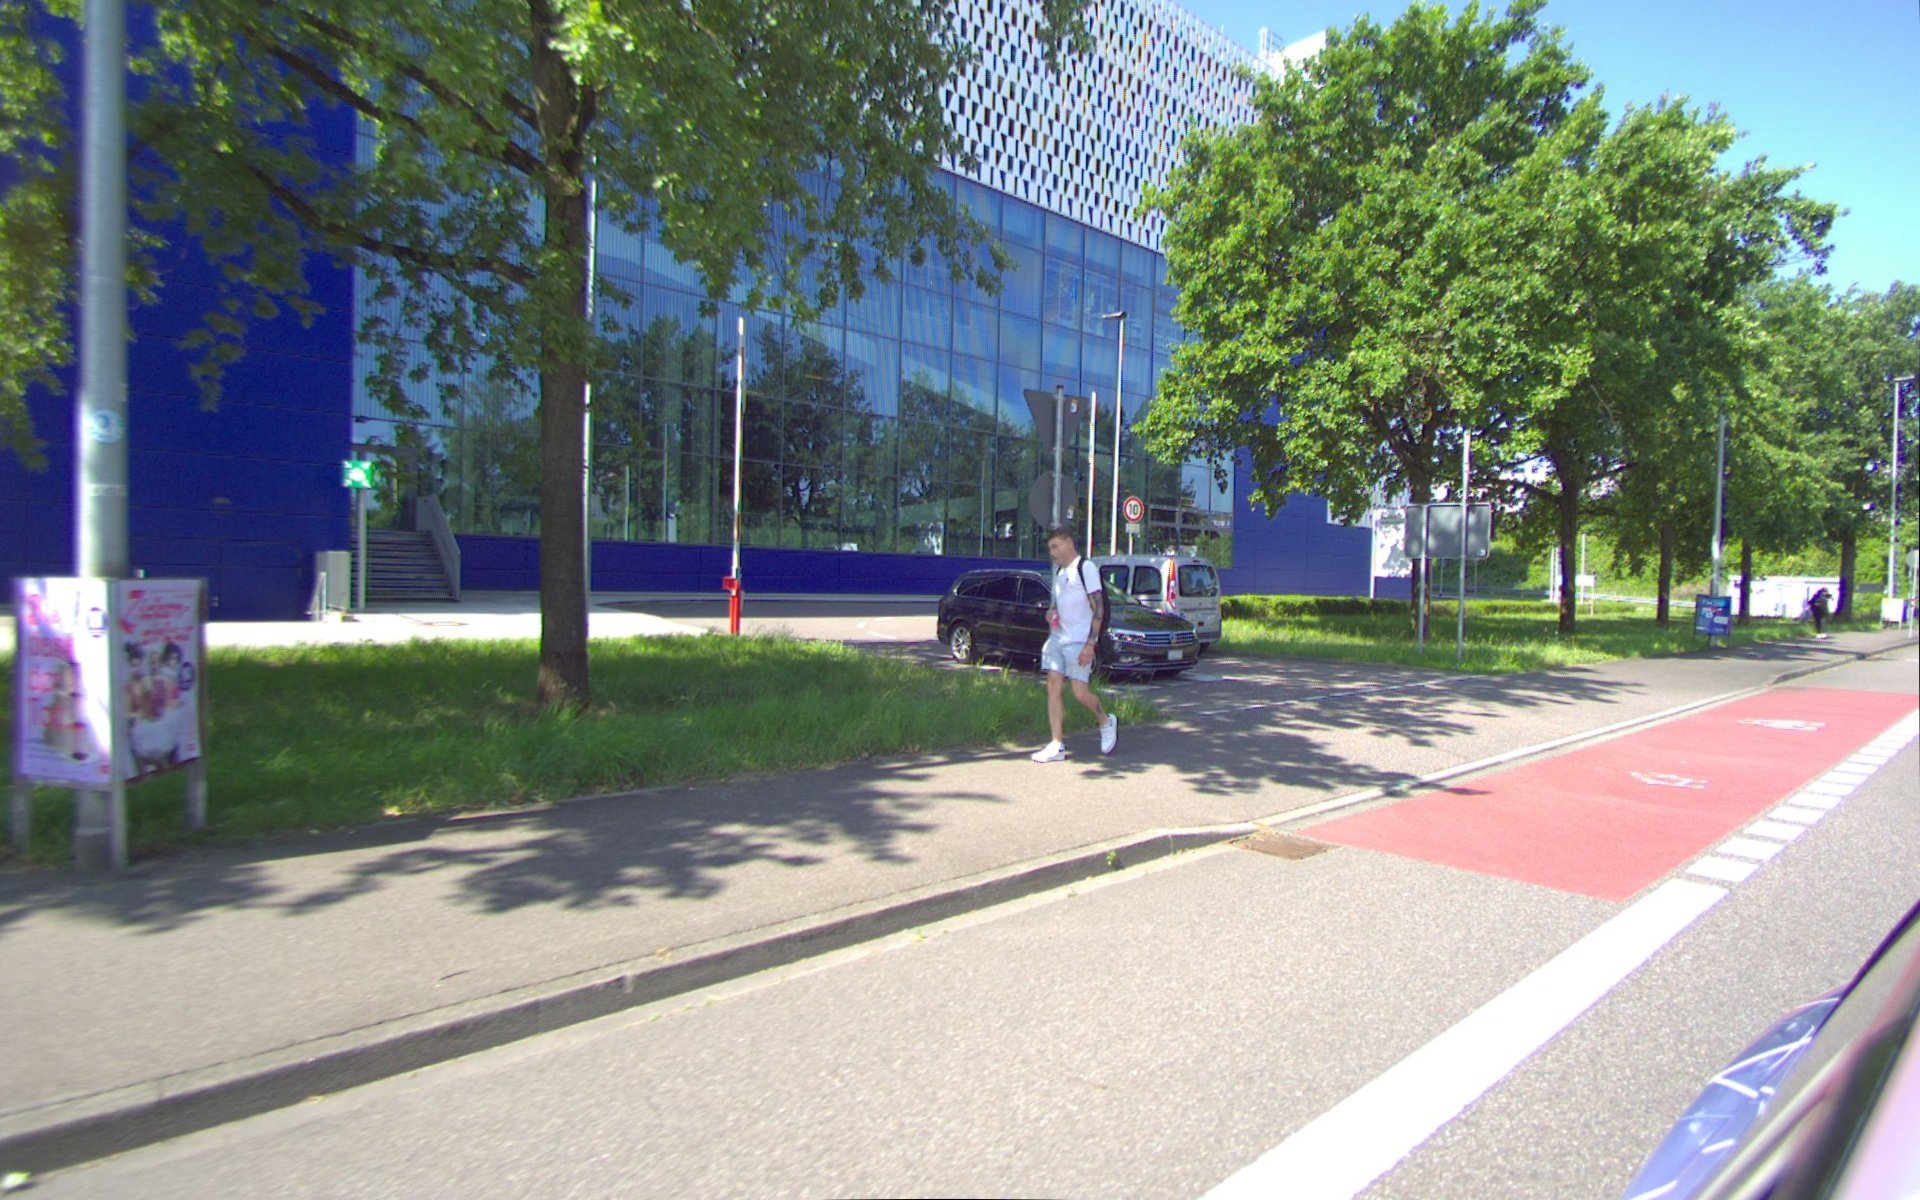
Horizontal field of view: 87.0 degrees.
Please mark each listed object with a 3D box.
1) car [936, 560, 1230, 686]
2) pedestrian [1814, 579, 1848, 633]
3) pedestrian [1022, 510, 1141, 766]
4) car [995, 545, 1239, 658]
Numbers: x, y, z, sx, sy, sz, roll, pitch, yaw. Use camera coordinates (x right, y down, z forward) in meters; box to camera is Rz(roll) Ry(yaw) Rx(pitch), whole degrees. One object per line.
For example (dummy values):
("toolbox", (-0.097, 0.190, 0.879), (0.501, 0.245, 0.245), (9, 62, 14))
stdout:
("car", (1.610, 0.215, 14.806), (1.874, 1.539, 4.377), (0, 2, -33))
("pedestrian", (26.800, 0.178, 31.138), (0.831, 1.623, 0.648), (0, 1, -40))
("pedestrian", (0.937, 0.271, 7.801), (0.715, 1.864, 0.536), (0, 1, -41))
("car", (2.790, -0.054, 18.681), (1.880, 1.851, 4.171), (0, 2, -43))
